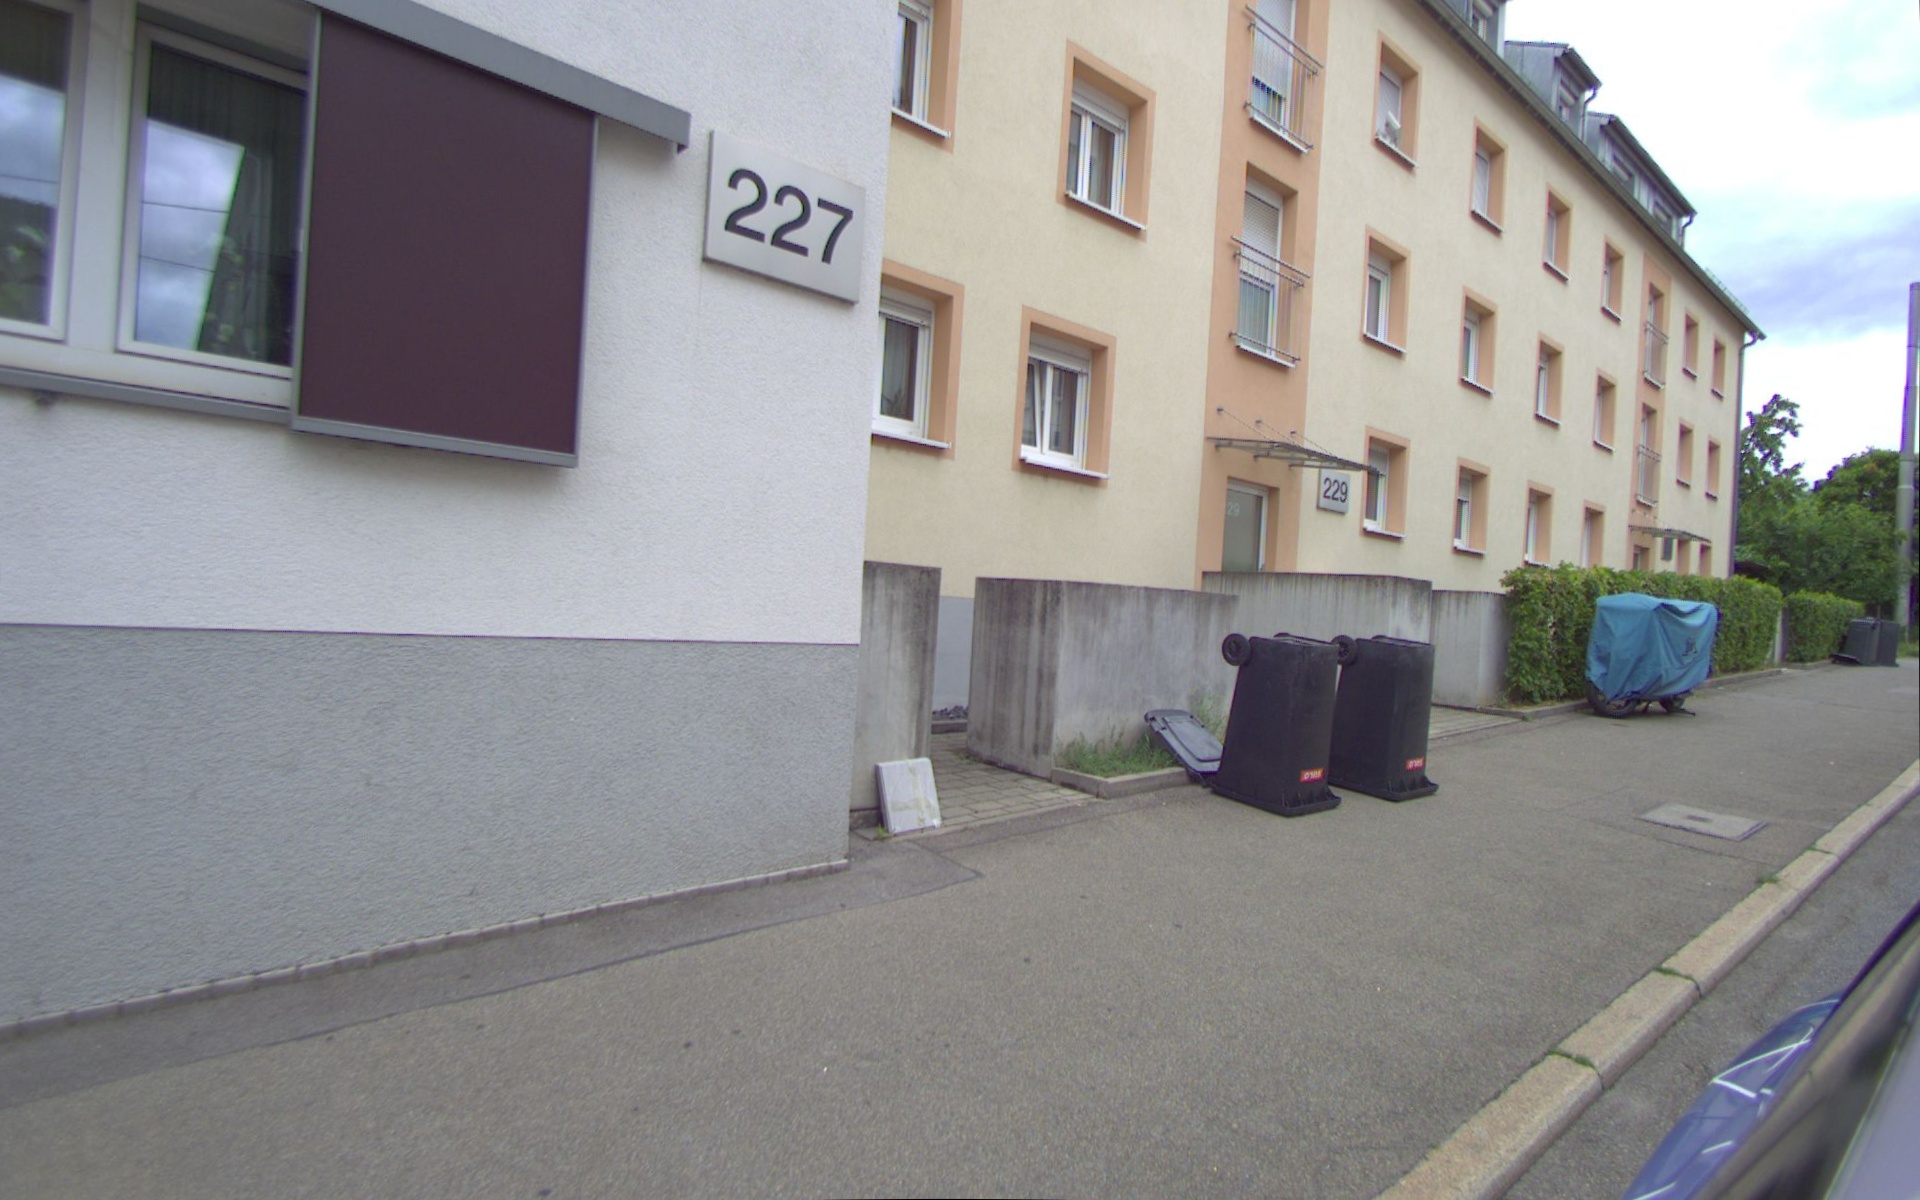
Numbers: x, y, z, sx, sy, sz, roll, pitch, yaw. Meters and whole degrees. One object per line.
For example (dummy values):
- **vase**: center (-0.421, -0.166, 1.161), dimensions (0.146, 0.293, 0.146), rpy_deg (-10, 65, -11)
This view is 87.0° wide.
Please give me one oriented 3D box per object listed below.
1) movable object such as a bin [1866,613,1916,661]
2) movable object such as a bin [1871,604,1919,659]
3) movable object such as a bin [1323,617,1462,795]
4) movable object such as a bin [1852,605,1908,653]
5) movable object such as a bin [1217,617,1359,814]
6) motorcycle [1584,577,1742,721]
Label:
- **movable object such as a bin**: center (21.345, 0.842, 23.205), dimensions (0.776, 1.024, 0.792), rpy_deg (0, 2, -44)
- **movable object such as a bin**: center (22.002, 0.732, 23.783), dimensions (0.776, 1.233, 0.792), rpy_deg (0, 1, -44)
- **movable object such as a bin**: center (2.913, 0.677, 6.822), dimensions (0.679, 1.093, 0.590), rpy_deg (1, 1, -39)
- **movable object such as a bin**: center (20.609, 0.633, 22.666), dimensions (0.775, 1.024, 0.794), rpy_deg (1, 1, -39)
- **movable object such as a bin**: center (2.004, 0.670, 6.197), dimensions (0.531, 1.093, 0.613), rpy_deg (1, 1, -39)
- **motorcycle**: center (8.099, 0.509, 11.603), dimensions (2.507, 1.475, 0.840), rpy_deg (0, 1, -40)
